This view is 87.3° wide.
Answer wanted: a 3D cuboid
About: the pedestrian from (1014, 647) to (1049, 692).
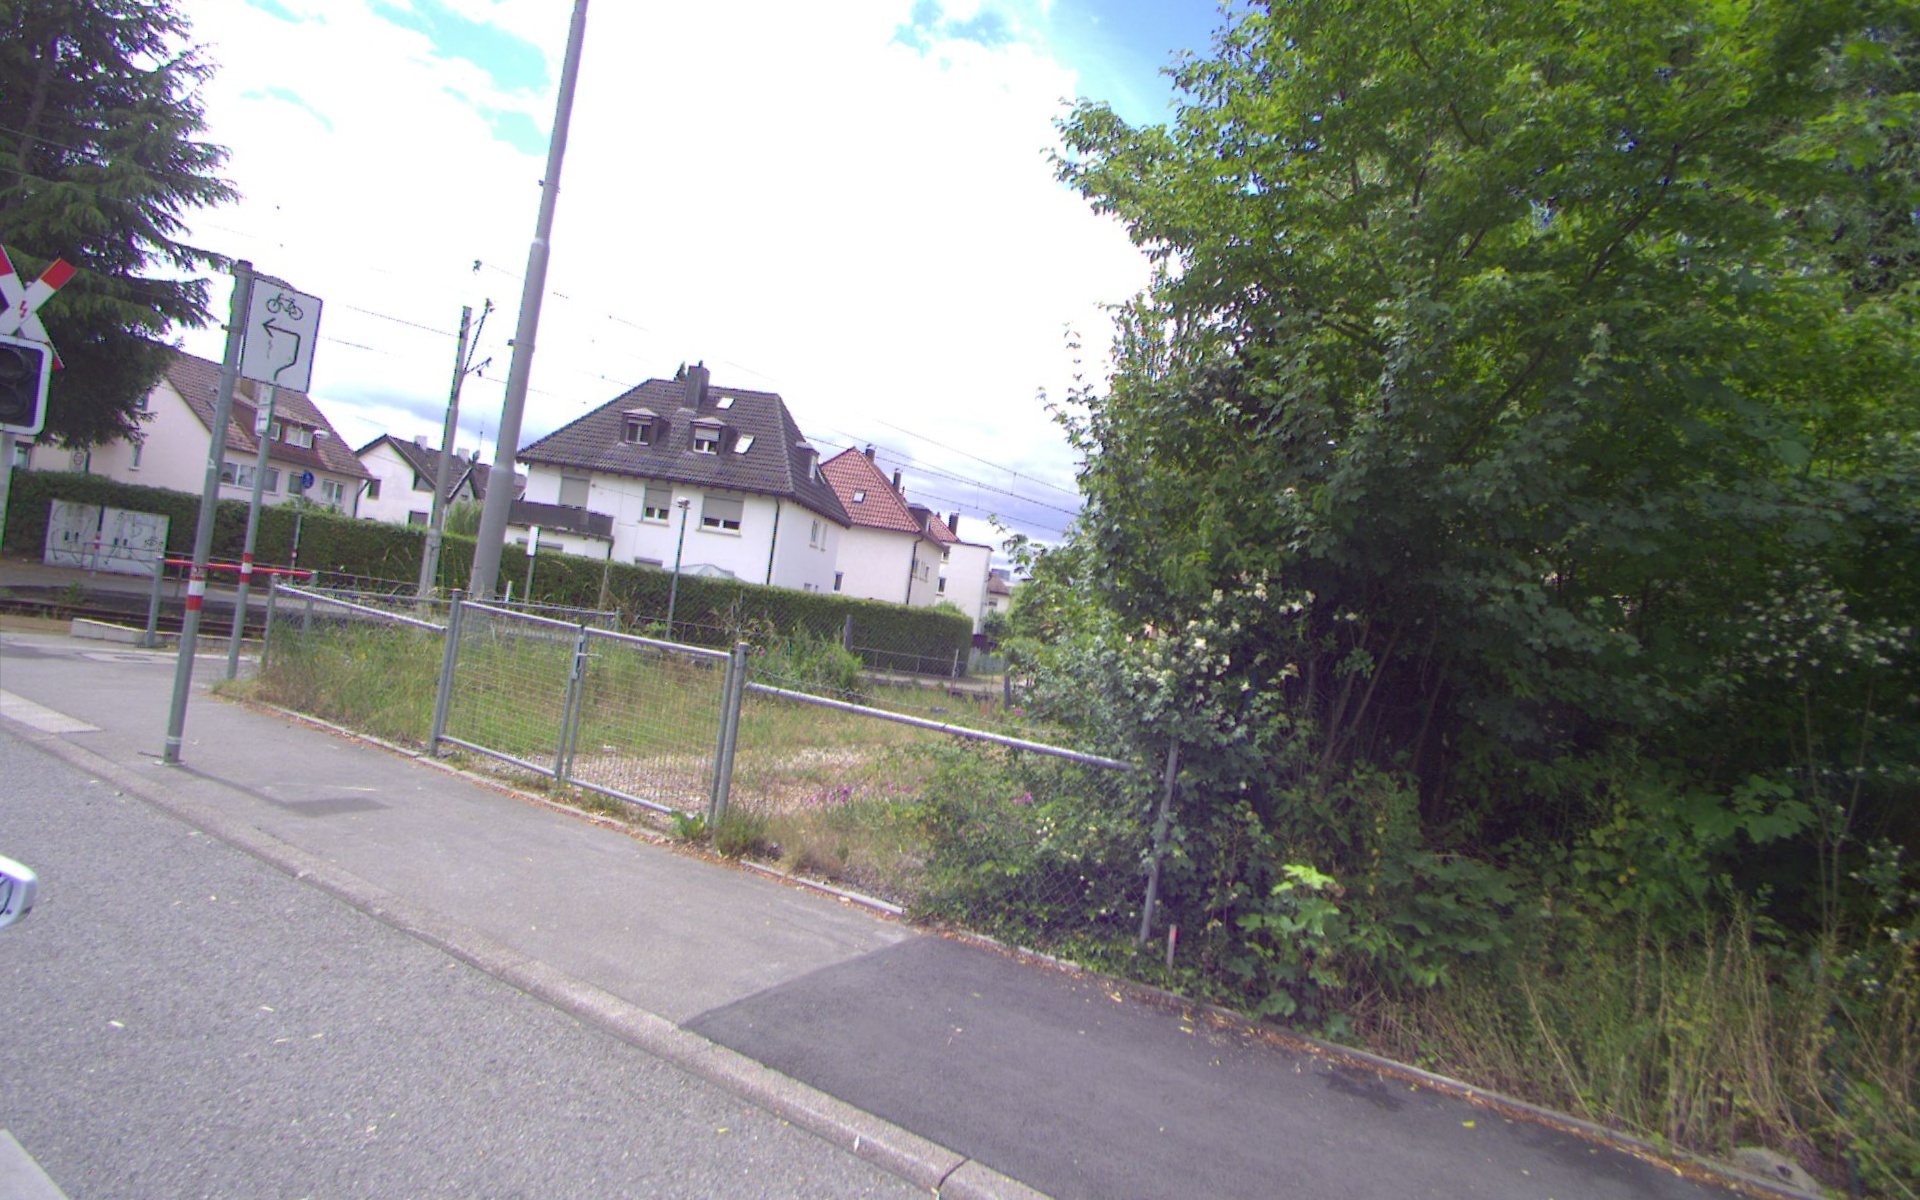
[{"bbox_3d":[3.035,2.930,42.455,0.910,1.707,0.925,8,-1,-31],"label":"pedestrian"}]
